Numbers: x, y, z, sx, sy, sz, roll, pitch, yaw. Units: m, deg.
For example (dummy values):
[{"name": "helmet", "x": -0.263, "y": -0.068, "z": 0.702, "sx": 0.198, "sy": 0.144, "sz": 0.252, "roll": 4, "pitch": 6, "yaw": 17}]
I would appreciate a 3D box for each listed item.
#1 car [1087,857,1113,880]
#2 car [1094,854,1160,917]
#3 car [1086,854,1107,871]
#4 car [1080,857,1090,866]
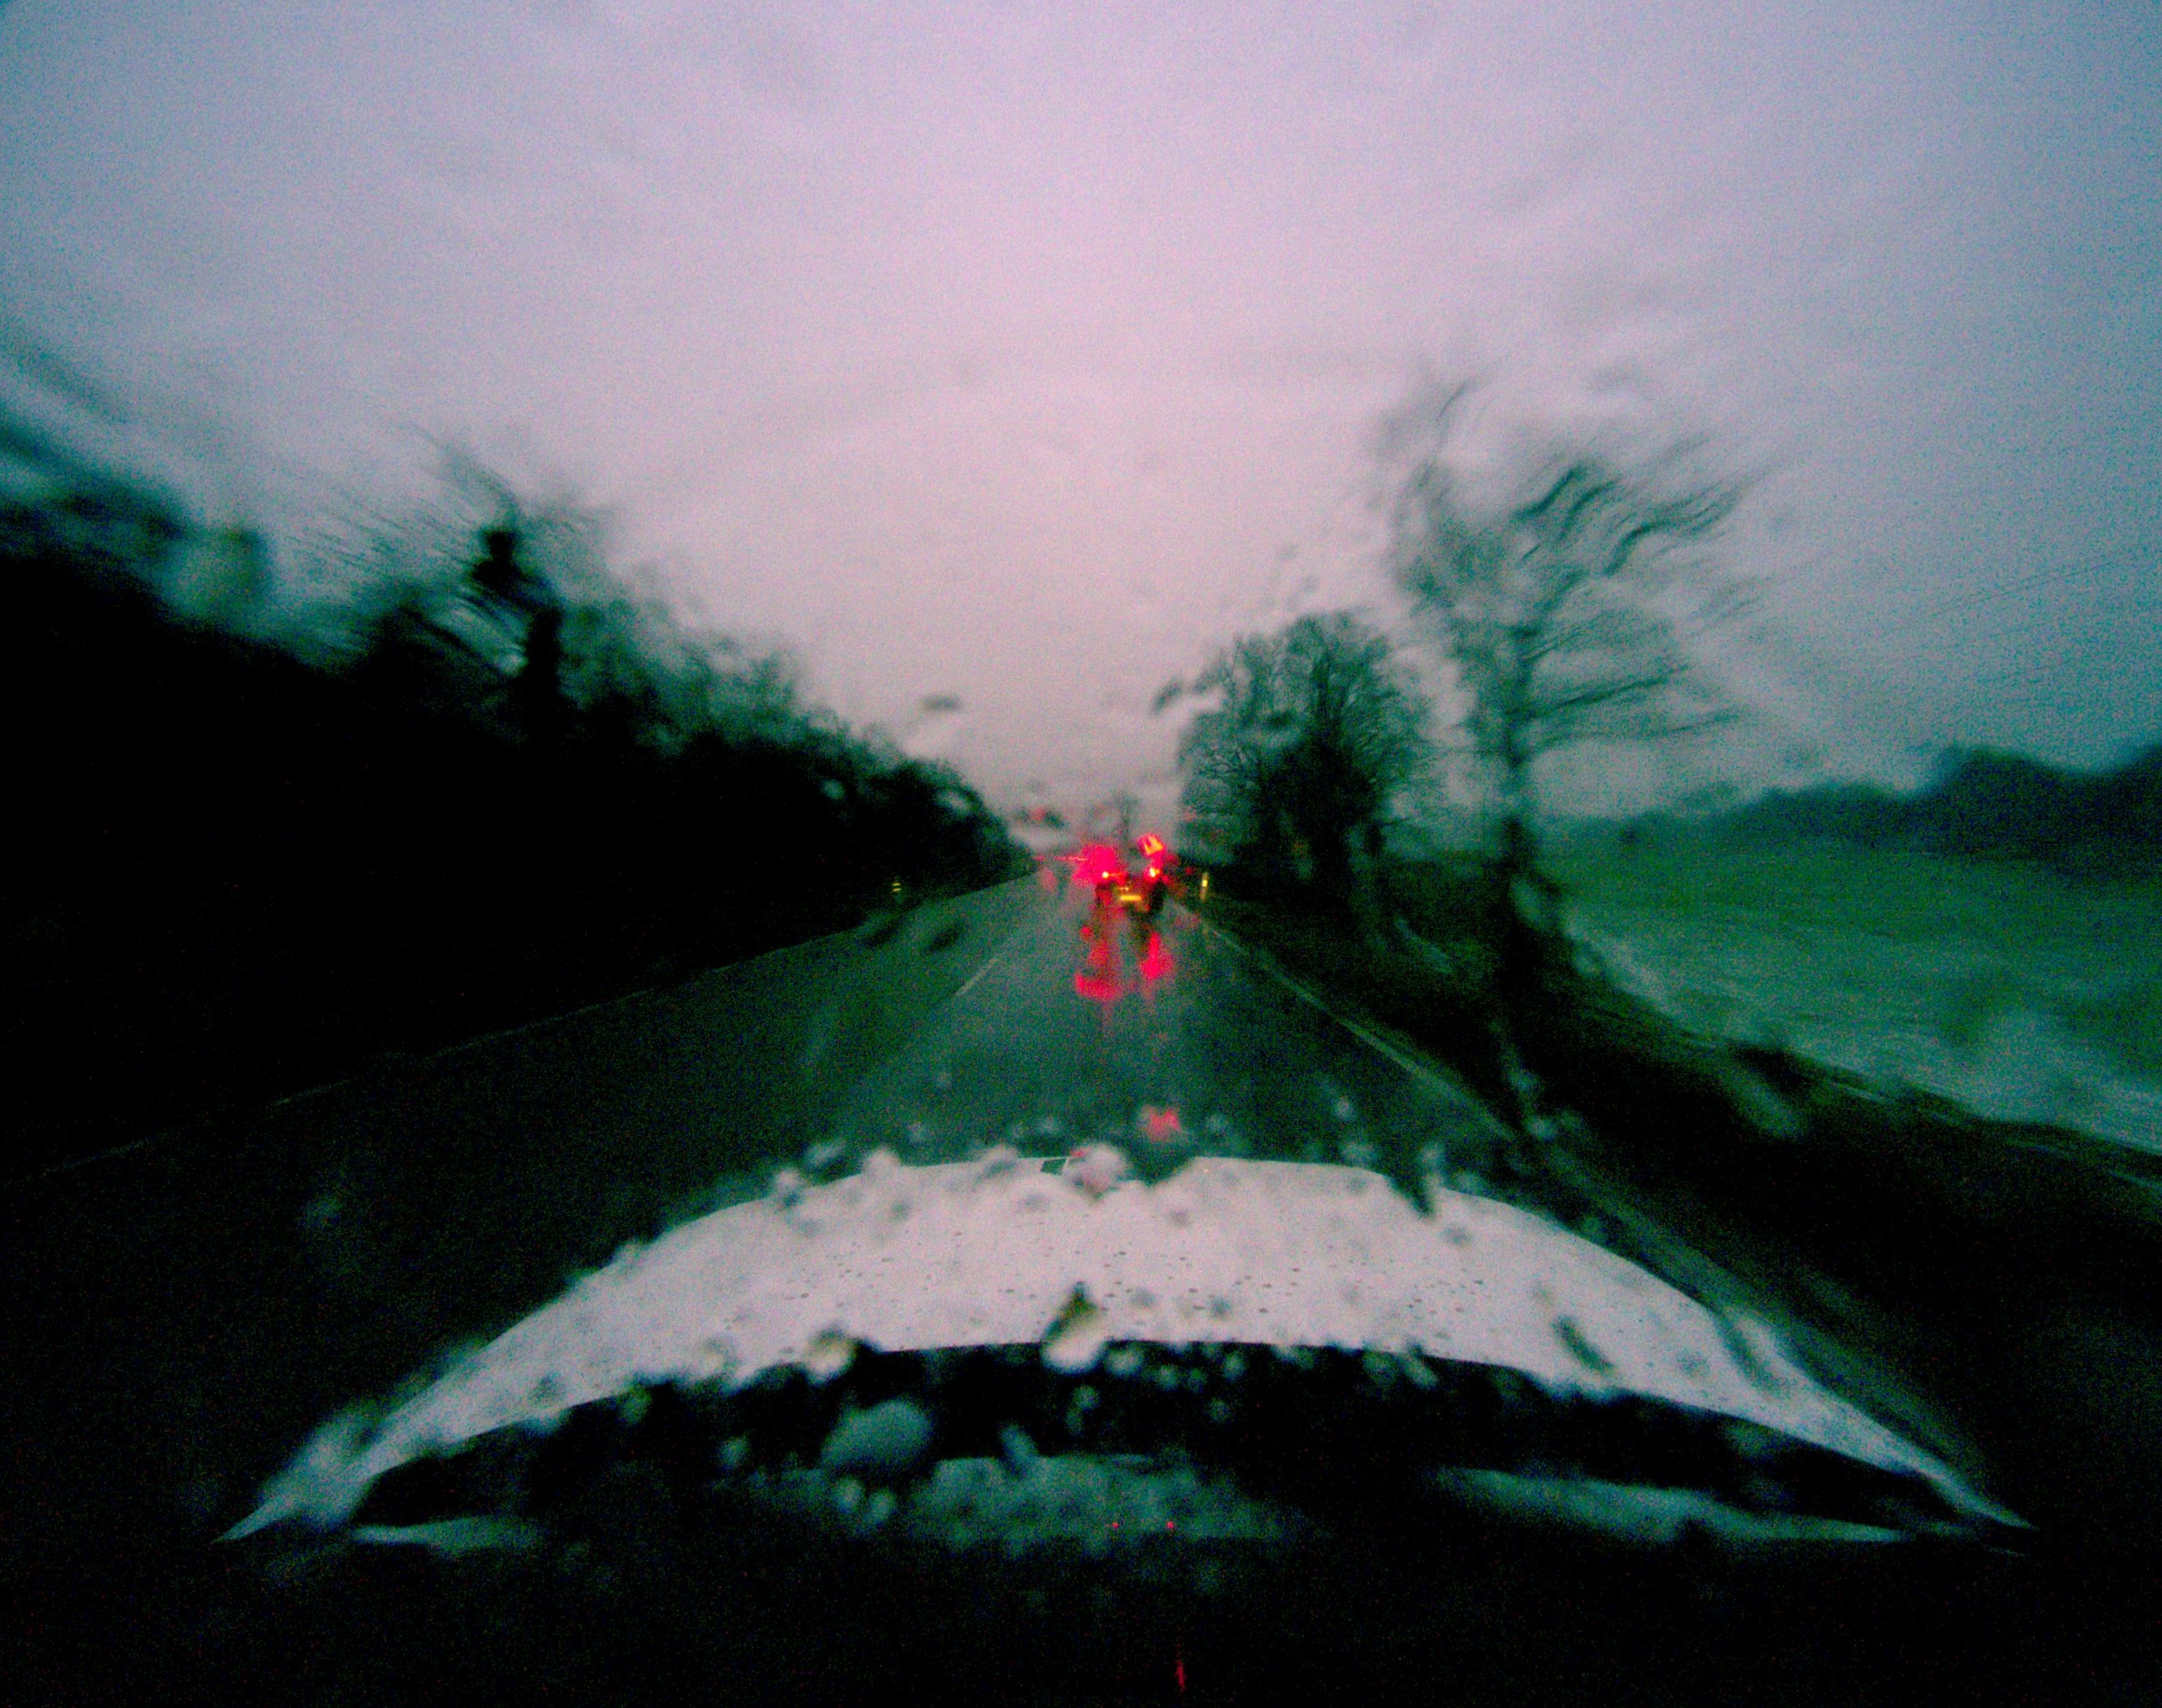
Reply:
[{"name": "car", "x": 1.239, "y": 0.886, "z": 51.324, "sx": 1.540, "sy": 1.397, "sz": 3.872, "roll": 0, "pitch": 0, "yaw": 3}, {"name": "car", "x": 1.289, "y": 0.774, "z": 21.639, "sx": 1.594, "sy": 1.522, "sz": 3.875, "roll": -1, "pitch": 0, "yaw": 5}, {"name": "car", "x": 1.381, "y": 0.746, "z": 70.715, "sx": 1.540, "sy": 1.397, "sz": 3.874, "roll": -1, "pitch": 0, "yaw": 4}, {"name": "car", "x": 0.649, "y": 1.280, "z": 139.629, "sx": 1.540, "sy": 1.397, "sz": 3.873, "roll": 0, "pitch": 0, "yaw": 3}]
